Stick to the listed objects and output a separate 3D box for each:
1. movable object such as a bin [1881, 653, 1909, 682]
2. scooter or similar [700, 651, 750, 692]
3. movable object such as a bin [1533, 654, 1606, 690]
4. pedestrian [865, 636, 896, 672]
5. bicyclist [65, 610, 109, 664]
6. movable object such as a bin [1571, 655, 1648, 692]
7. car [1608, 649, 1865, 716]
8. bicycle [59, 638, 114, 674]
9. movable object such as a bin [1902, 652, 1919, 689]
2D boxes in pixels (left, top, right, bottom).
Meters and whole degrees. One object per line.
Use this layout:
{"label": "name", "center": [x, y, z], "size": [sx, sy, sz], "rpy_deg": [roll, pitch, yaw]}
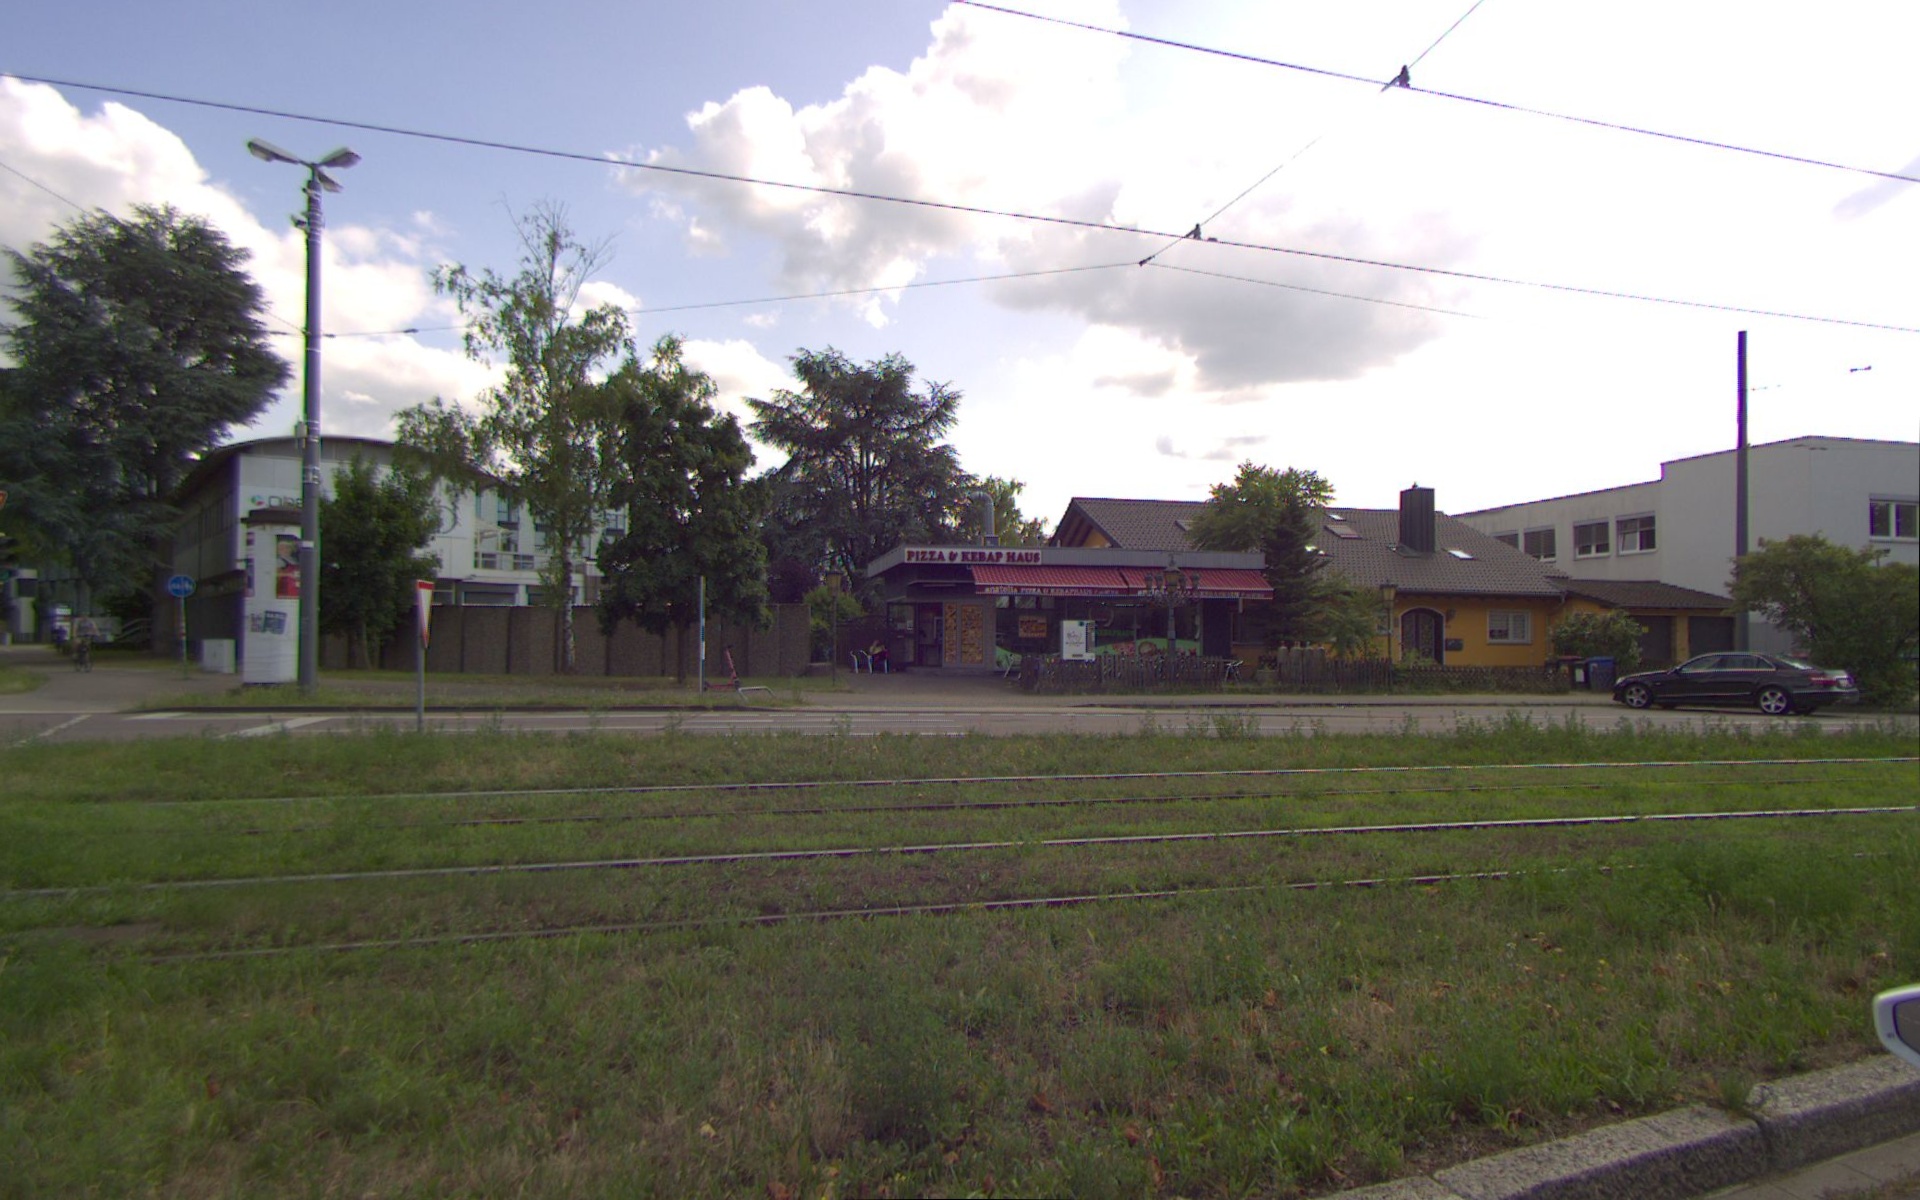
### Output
{"label": "movable object such as a bin", "center": [35.530, 2.551, 38.154], "size": [0.554, 1.056, 0.569], "rpy_deg": [0, 0, -11]}
{"label": "scooter or similar", "center": [-6.148, 1.874, 26.291], "size": [1.199, 1.047, 0.427], "rpy_deg": [1, -2, -1]}
{"label": "movable object such as a bin", "center": [19.760, 2.328, 32.582], "size": [1.590, 1.107, 1.255], "rpy_deg": [1, -2, -13]}
{"label": "pedestrian", "center": [-2.600, 1.761, 32.765], "size": [0.915, 1.161, 1.155], "rpy_deg": [1, -2, -10]}
{"label": "bicyclist", "center": [-27.517, 1.160, 31.665], "size": [1.001, 1.656, 0.801], "rpy_deg": [-1, -1, 34]}
{"label": "movable object such as a bin", "center": [20.118, 2.271, 31.159], "size": [1.590, 1.115, 1.255], "rpy_deg": [1, -2, -13]}
{"label": "car", "center": [18.682, 1.952, 24.428], "size": [1.862, 1.425, 4.613], "rpy_deg": [3, -4, -31]}
{"label": "bicycle", "center": [-27.533, 1.739, 31.668], "size": [2.034, 1.074, 0.802], "rpy_deg": [-1, -1, 34]}
{"label": "movable object such as a bin", "center": [33.411, 2.430, 34.488], "size": [1.233, 1.250, 1.007], "rpy_deg": [0, 0, -9]}
